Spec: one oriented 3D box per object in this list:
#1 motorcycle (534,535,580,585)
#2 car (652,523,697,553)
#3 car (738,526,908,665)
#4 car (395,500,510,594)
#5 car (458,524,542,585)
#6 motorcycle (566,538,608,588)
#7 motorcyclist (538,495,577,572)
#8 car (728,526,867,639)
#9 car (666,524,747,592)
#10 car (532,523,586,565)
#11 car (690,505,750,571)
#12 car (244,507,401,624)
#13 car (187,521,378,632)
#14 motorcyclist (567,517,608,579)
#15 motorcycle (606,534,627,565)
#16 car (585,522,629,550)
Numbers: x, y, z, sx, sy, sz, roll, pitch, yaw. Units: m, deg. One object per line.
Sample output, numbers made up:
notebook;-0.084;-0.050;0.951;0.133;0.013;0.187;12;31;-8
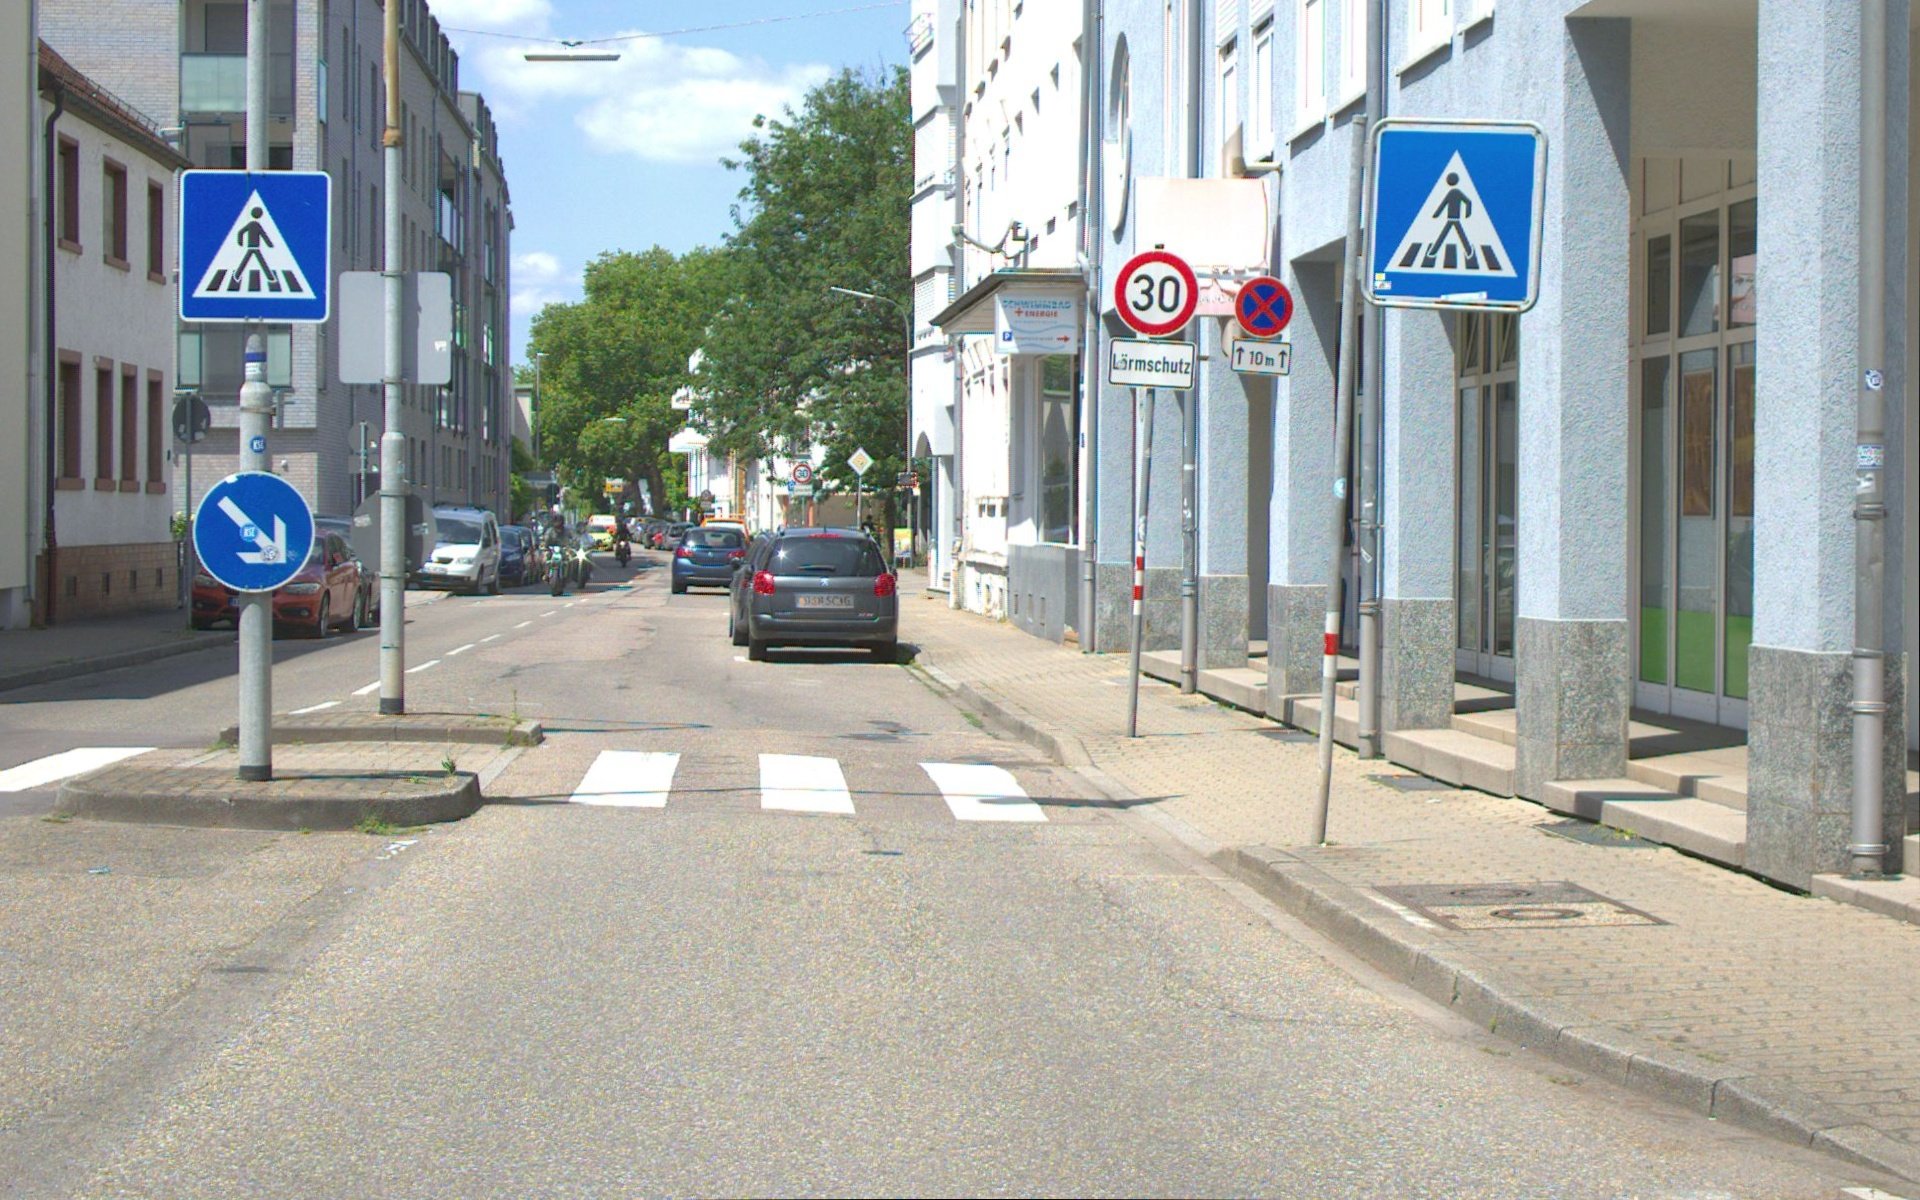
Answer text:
motorcycle;-8.558;-0.853;73.110;0.713;1.025;2.239;0;2;0
car;-15.556;-3.392;187.260;1.993;1.612;4.001;1;1;-10
car;-1.628;-0.095;39.562;1.709;1.503;4.001;1;1;-6
car;-10.934;-1.158;74.301;1.757;1.885;4.337;3;1;0
car;-11.628;-1.162;87.111;1.723;1.451;4.006;2;1;-3
motorcycle;-9.104;-0.913;83.967;0.896;1.172;2.208;1;1;-4
motorcyclist;-8.560;-1.413;73.150;0.713;1.628;1.069;0;2;0
car;-2.210;-0.269;45.739;1.729;1.415;4.546;1;1;-4
car;-5.484;-0.938;74.651;1.715;1.397;4.001;0;2;-4
car;-14.228;-2.002;122.171;1.732;1.437;4.001;0;1;-5
car;-7.565;-1.965;108.457;1.839;2.006;4.001;1;2;-3
car;-9.527;-0.543;51.623;1.794;1.641;3.945;2;1;-3
car;-9.137;-0.345;46.685;1.834;1.412;4.290;1;1;-2
motorcyclist;-9.092;-1.272;83.920;0.916;1.475;1.203;1;1;-4
motorcycle;-12.566;-1.853;125.881;0.687;1.118;2.028;0;1;-4
car;-18.699;-3.375;182.116;1.993;1.376;4.393;2;1;-2
